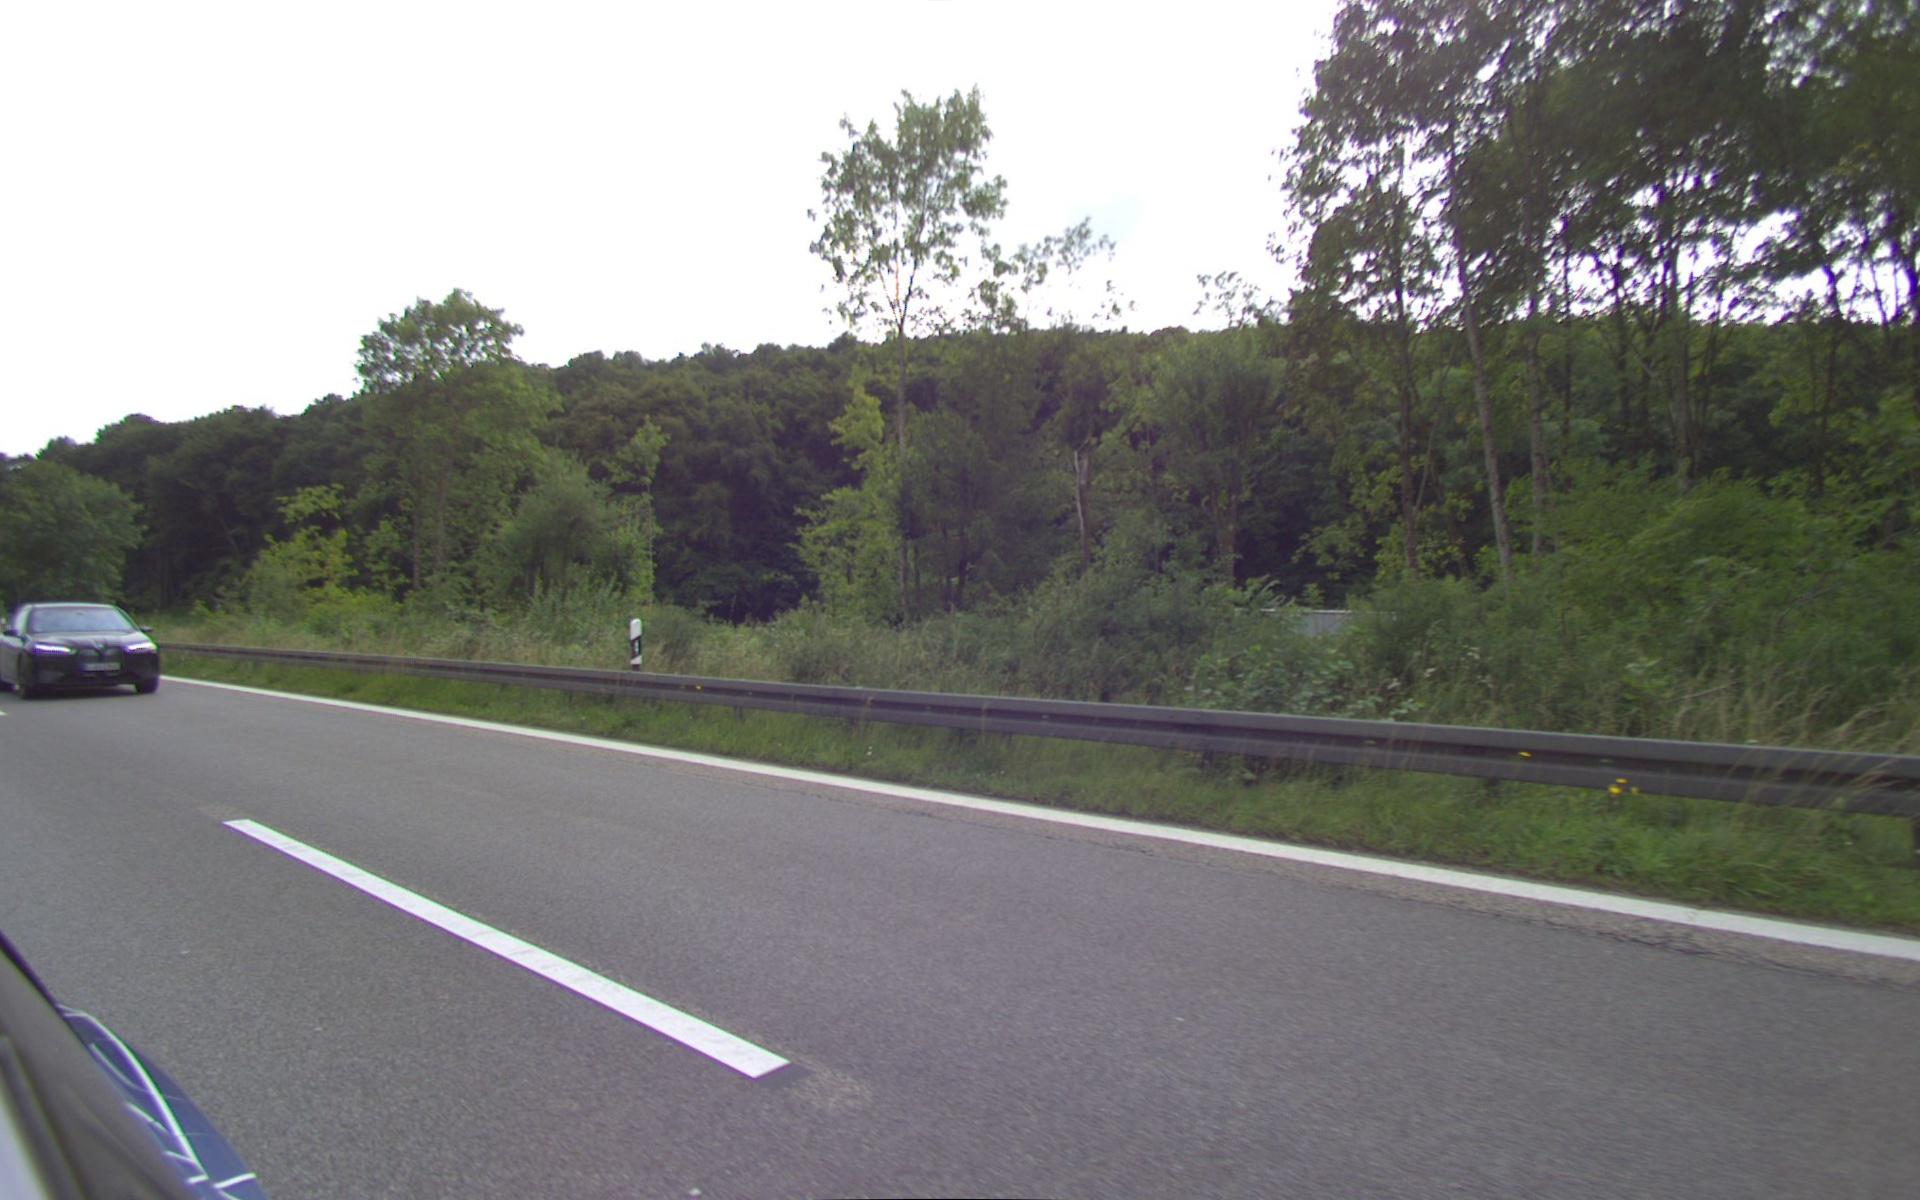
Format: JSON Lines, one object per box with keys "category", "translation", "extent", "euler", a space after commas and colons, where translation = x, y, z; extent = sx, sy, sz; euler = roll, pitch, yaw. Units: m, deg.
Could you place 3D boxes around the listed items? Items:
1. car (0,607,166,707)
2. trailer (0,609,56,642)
{"category": "car", "translation": [-16.884, 0.996, 19.160], "extent": [4.410, 1.678, 1.974], "euler": [-1, -1, 39]}
{"category": "trailer", "translation": [-99.555, 2.654, 104.761], "extent": [13.719, 3.244, 3.139], "euler": [-1, -1, 22]}
